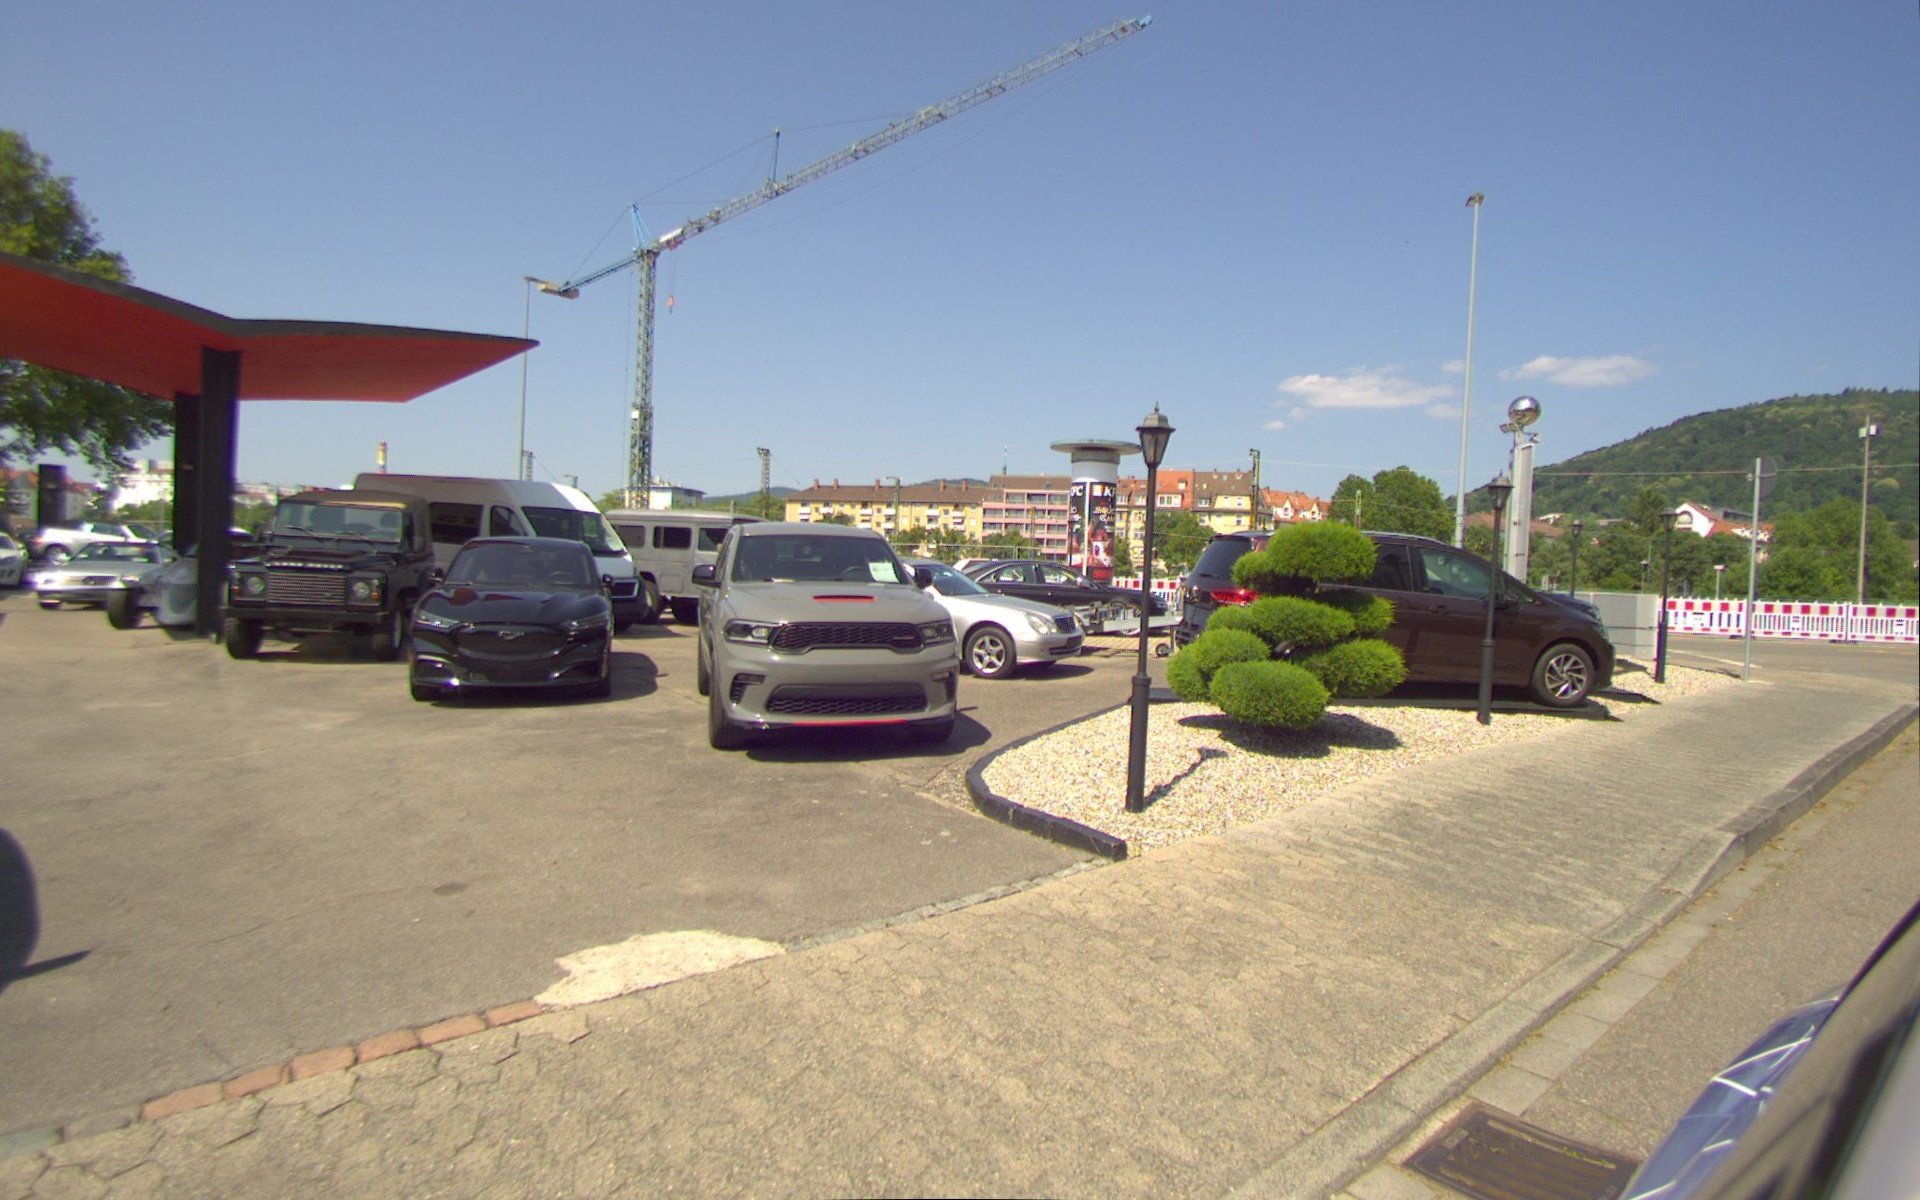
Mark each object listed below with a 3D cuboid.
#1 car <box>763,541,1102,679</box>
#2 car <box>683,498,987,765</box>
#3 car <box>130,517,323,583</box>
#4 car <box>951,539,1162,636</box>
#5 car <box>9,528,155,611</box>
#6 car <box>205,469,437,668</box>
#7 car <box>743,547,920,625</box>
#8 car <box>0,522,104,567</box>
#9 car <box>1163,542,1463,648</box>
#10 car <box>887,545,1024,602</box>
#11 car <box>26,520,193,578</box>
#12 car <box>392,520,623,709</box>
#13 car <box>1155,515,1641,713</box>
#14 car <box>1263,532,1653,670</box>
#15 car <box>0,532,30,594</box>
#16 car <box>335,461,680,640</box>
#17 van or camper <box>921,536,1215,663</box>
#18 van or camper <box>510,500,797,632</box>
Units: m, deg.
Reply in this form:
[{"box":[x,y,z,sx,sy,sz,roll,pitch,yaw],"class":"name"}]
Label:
[{"box":[-0.386,0.037,13.646,4.166,1.553,1.908,3,3,26],"class":"car"},{"box":[-1.483,0.116,9.426,1.884,1.784,5.010,1,2,-18],"class":"car"},{"box":[-20.296,-1.364,28.159,3.969,1.660,1.728,1,2,-12],"class":"car"},{"box":[1.831,-0.279,20.075,3.925,1.727,1.861,2,2,1],"class":"car"},{"box":[-17.192,-0.635,20.012,1.890,1.460,4.332,0,3,-37],"class":"car"},{"box":[-8.268,-0.464,13.540,1.885,2.176,4.588,2,3,-23],"class":"car"},{"box":[-2.752,-0.326,22.269,3.687,1.569,1.648,1,2,-1],"class":"car"},{"box":[-36.231,-2.211,40.221,3.959,1.660,1.983,2,2,26],"class":"car"},{"box":[6.283,-0.098,18.178,4.716,1.713,2.022,1,2,-15],"class":"car"},{"box":[-0.123,-0.856,31.999,3.943,1.660,1.991,2,2,15],"class":"car"},{"box":[-26.800,-1.601,32.005,3.650,1.660,1.728,1,2,-12],"class":"car"},{"box":[-4.830,0.015,11.296,1.884,1.655,4.589,1,3,-20],"class":"car"},{"box":[4.388,0.107,10.564,4.204,1.804,1.856,1,2,-5],"class":"car"},{"box":[7.205,-0.019,15.009,4.724,1.801,2.019,1,2,-2],"class":"car"},{"box":[-23.291,-0.947,24.000,1.727,1.397,3.484,2,1,-42],"class":"car"},{"box":[-7.939,-0.862,17.624,5.959,2.712,2.239,2,2,27],"class":"car"},{"box":[1.686,-0.074,15.662,4.227,1.704,1.994,2,2,12],"class":"van or camper"},{"box":[-6.043,-0.696,19.803,5.452,2.289,2.093,2,2,27],"class":"van or camper"}]
